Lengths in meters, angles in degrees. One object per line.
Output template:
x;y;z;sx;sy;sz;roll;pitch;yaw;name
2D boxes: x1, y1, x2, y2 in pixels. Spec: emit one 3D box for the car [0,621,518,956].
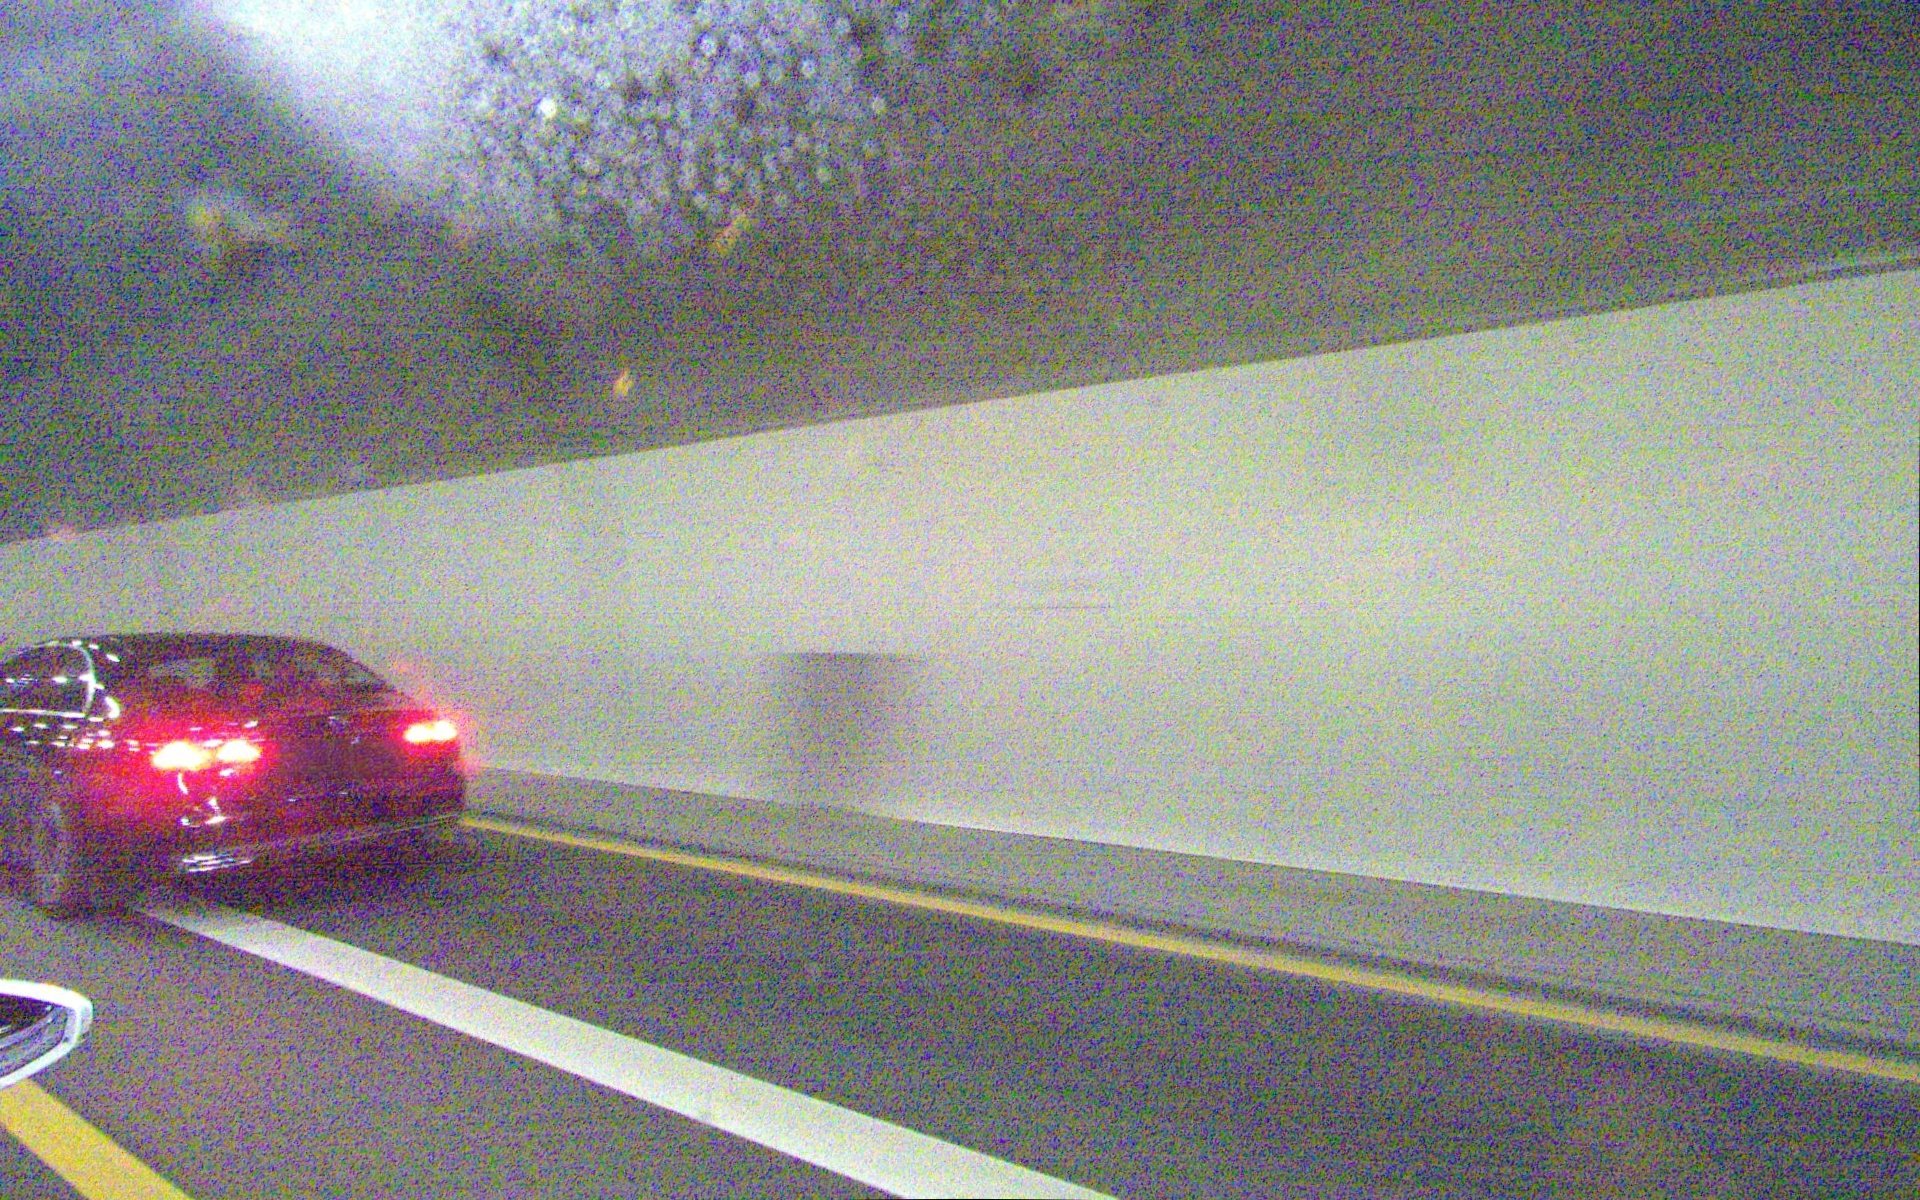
-5.268;0.916;6.601;4.884;1.491;1.922;-1;-2;32;car
